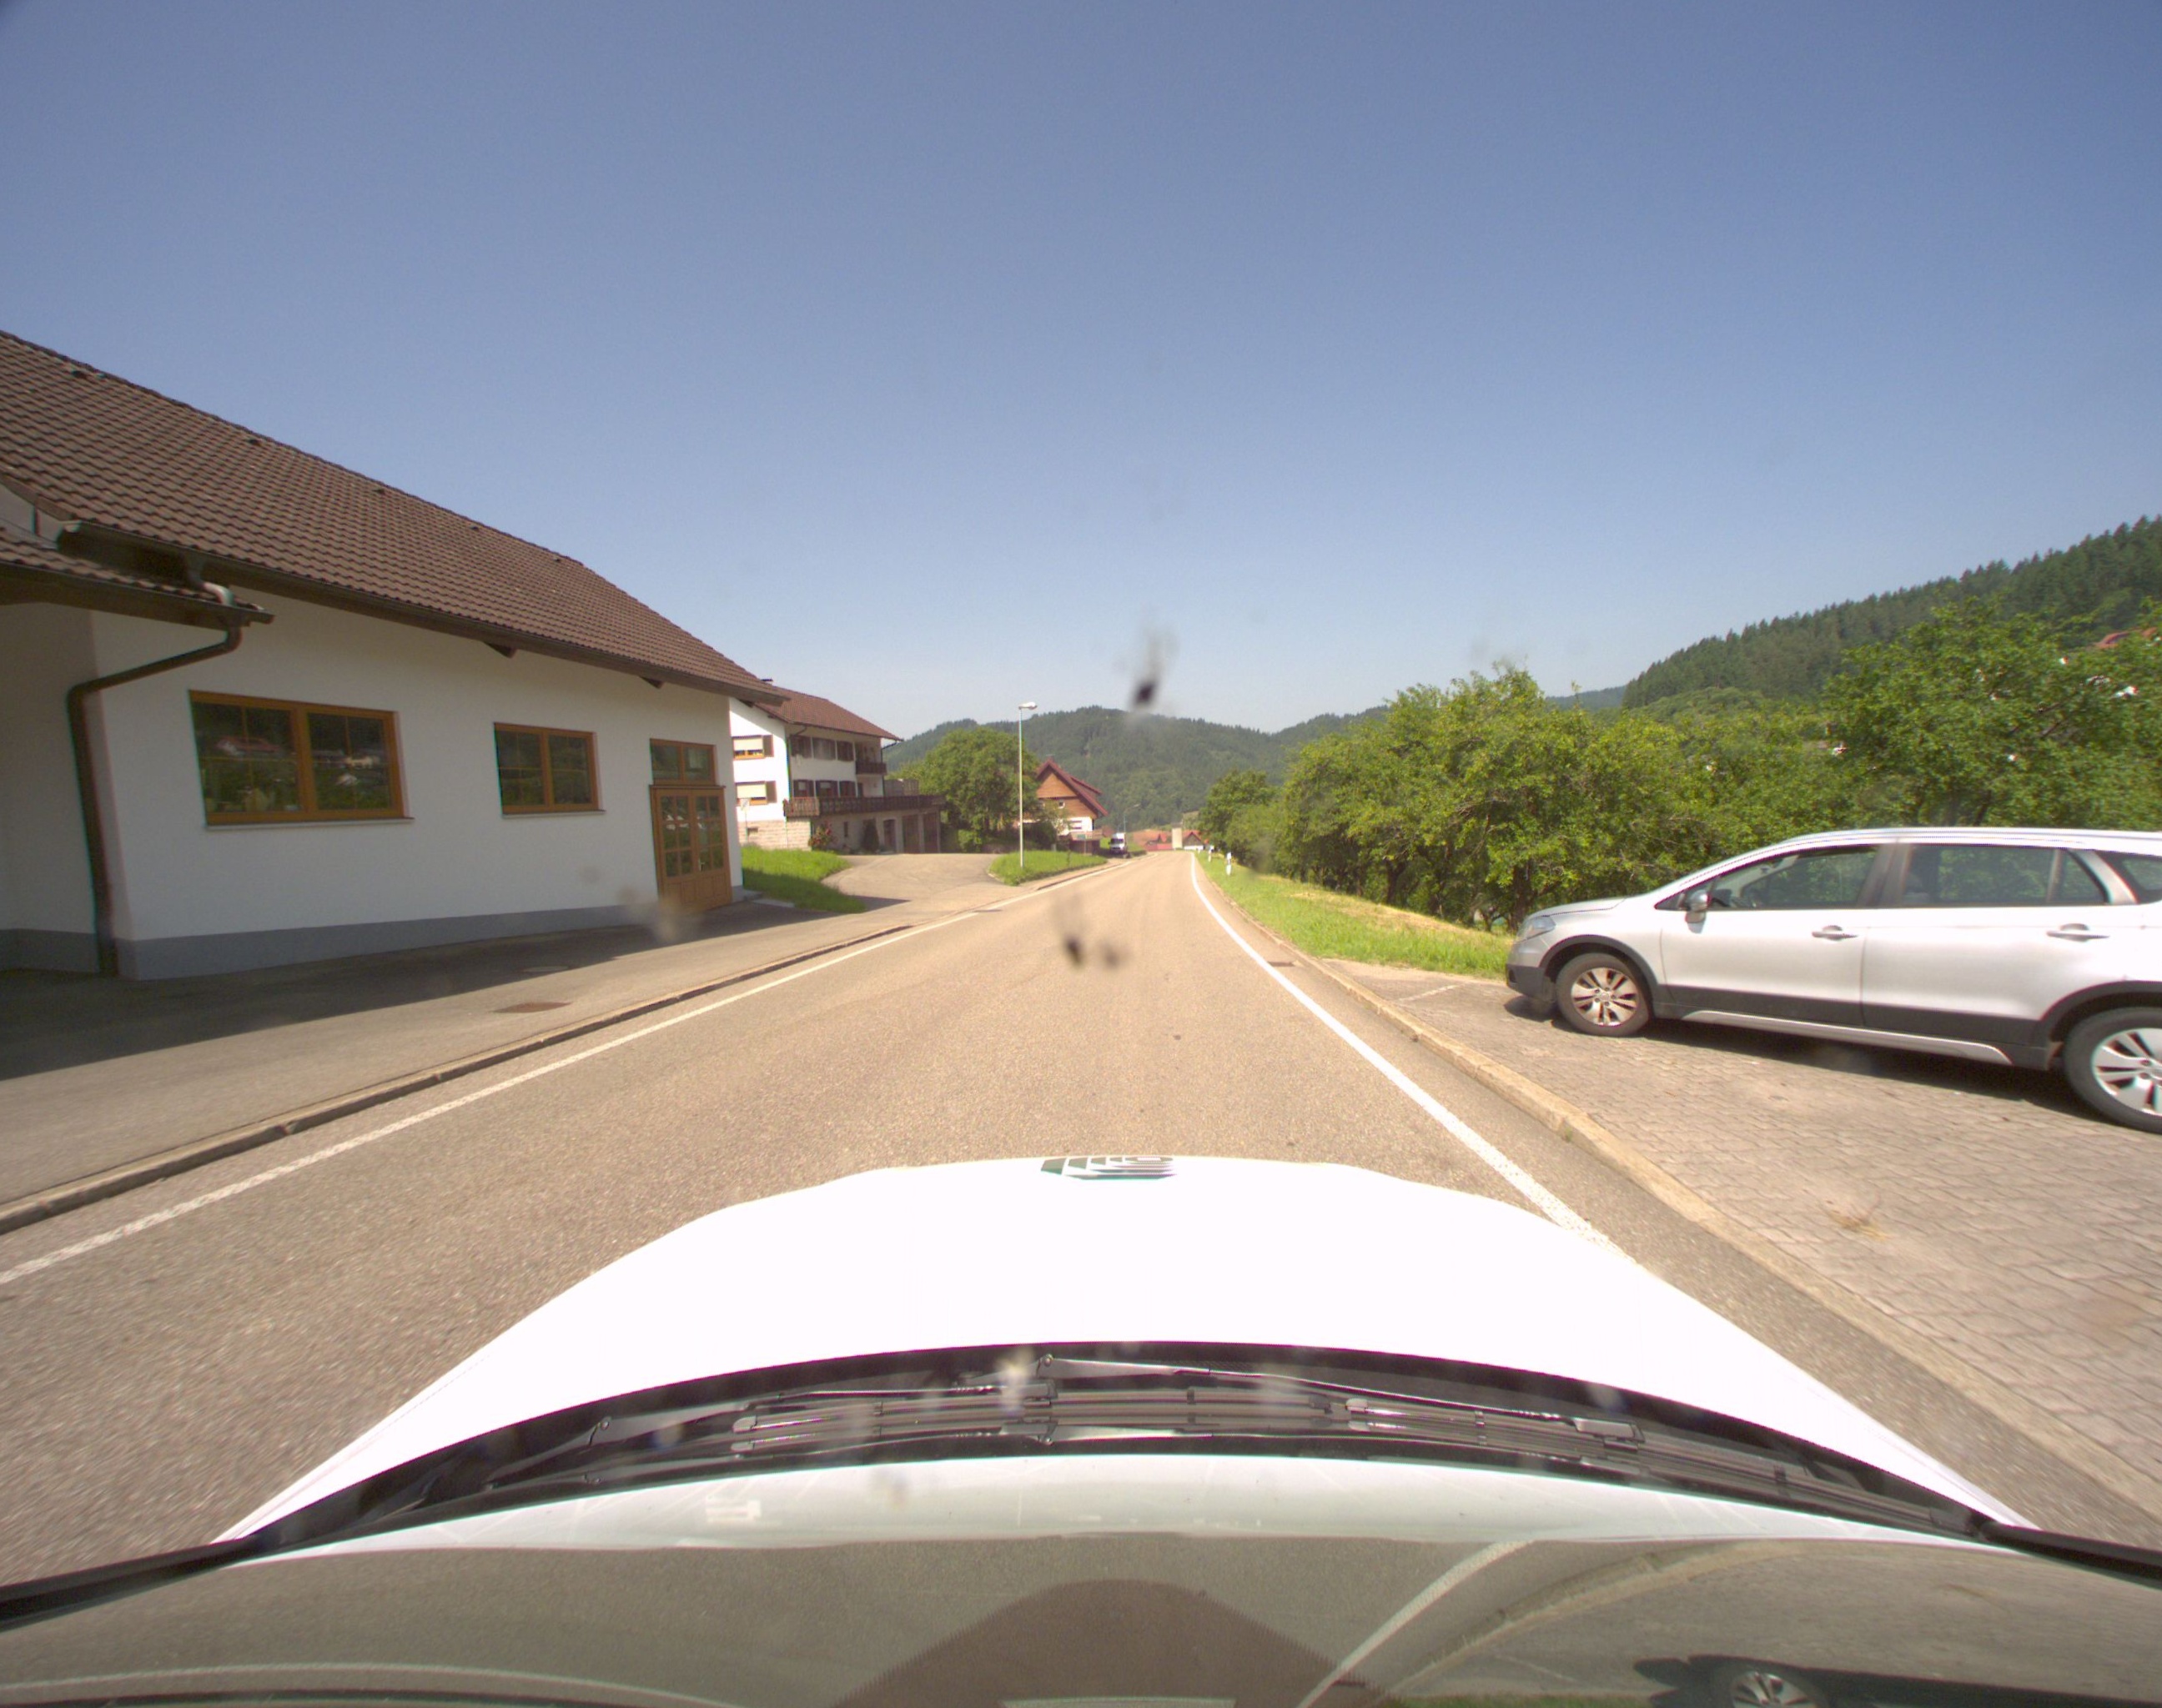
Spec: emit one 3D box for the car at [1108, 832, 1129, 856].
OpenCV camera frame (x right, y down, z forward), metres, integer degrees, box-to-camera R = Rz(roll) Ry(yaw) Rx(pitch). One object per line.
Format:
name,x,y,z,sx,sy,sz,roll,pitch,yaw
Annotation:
car,4.975,-1.404,107.301,2.056,2.688,7.190,-2,3,7

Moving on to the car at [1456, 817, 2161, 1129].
car,5.320,0.585,5.832,1.914,1.571,4.412,0,1,-38
